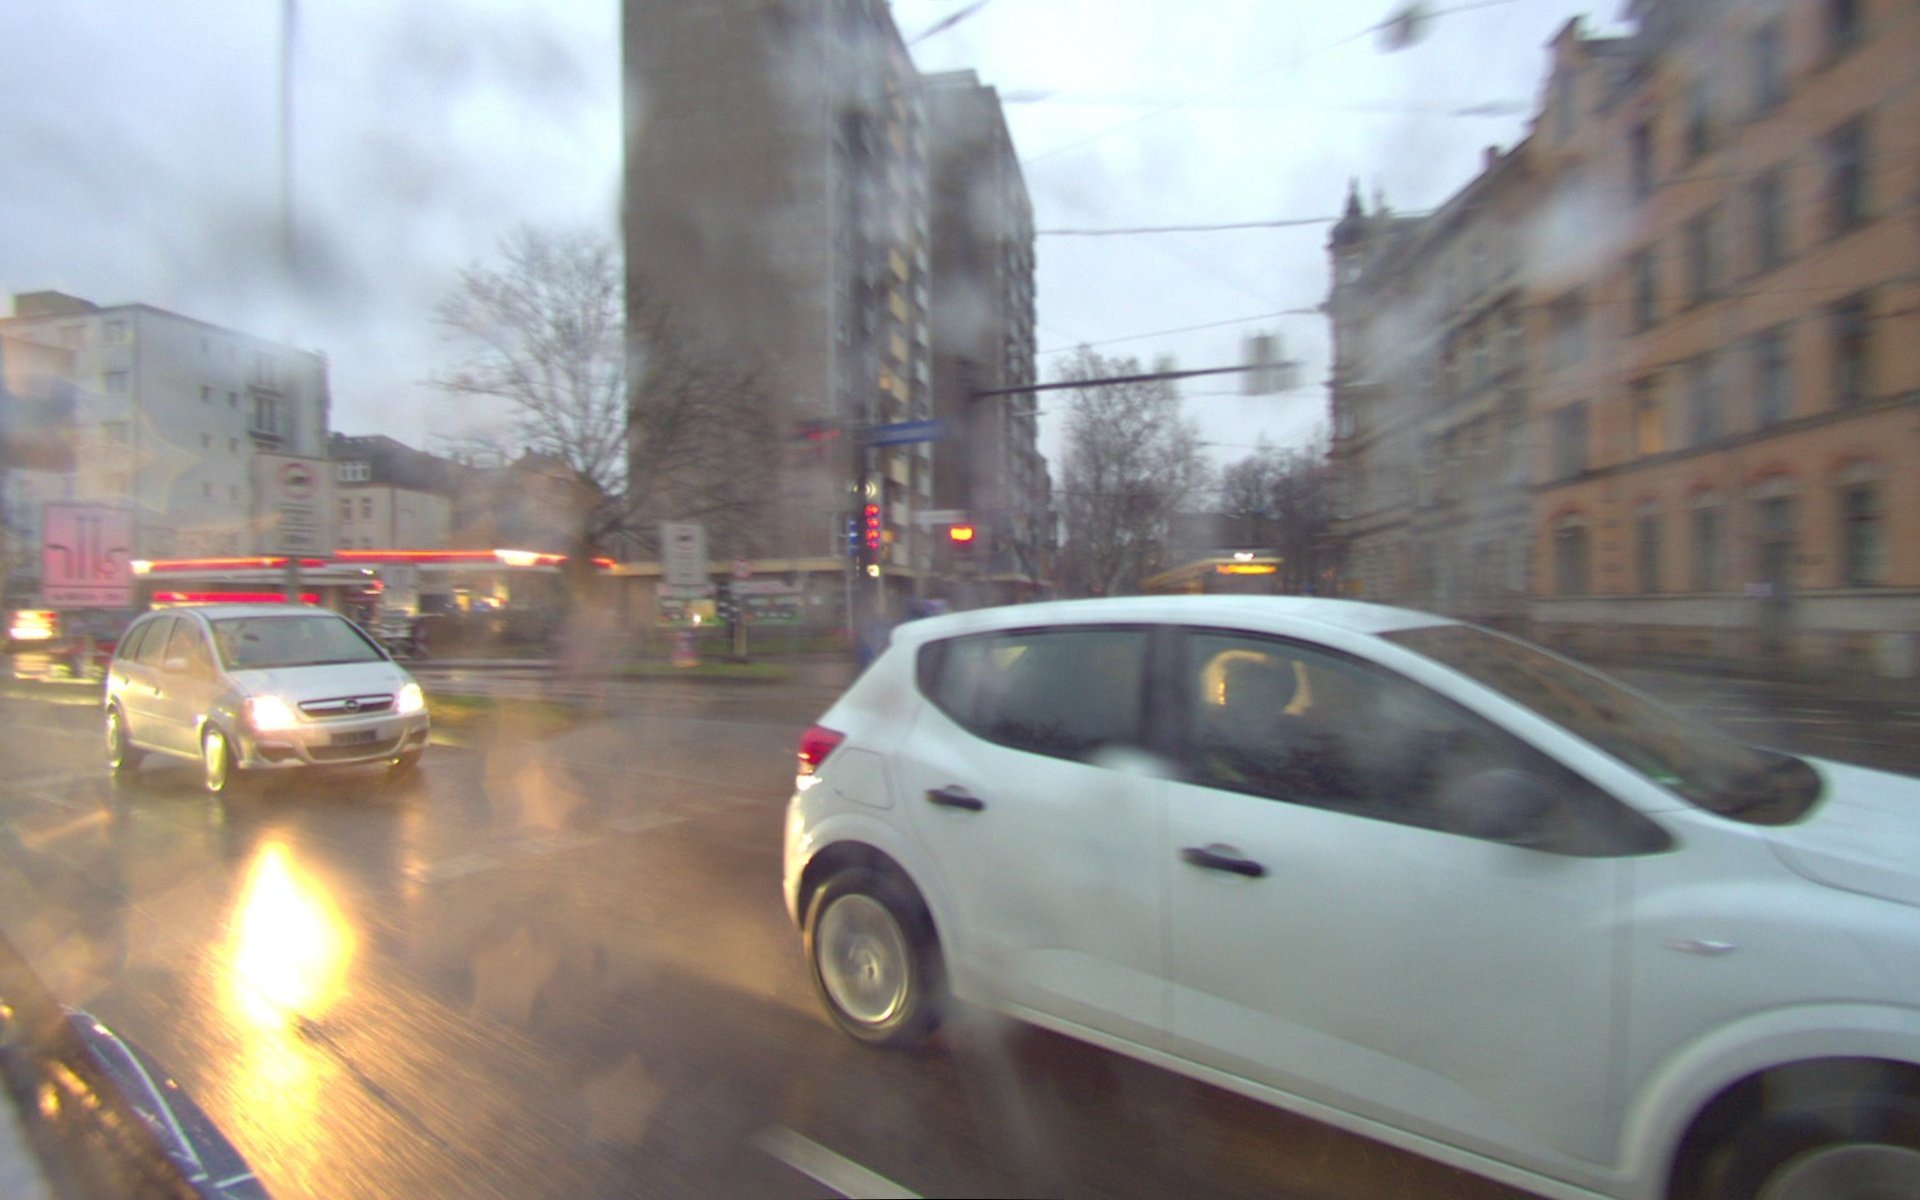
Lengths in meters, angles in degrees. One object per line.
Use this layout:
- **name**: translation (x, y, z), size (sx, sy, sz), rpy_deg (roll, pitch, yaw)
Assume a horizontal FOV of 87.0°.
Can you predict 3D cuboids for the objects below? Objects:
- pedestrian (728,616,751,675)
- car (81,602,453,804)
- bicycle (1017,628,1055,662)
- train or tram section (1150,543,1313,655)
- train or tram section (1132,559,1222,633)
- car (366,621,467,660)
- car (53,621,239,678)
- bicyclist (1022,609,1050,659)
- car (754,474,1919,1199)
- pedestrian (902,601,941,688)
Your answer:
- **pedestrian**: translation (-6.869, 1.399, 31.492), size (0.525, 1.806, 0.627), rpy_deg (-2, -1, 2)
- **car**: translation (-6.763, 0.846, 9.738), size (4.100, 1.560, 1.631), rpy_deg (-1, -1, 35)
- **bicycle**: translation (2.187, 1.277, 29.246), size (0.498, 0.907, 1.990), rpy_deg (-1, 0, -13)
- **train or tram section**: translation (9.398, -0.075, 37.548), size (3.130, 3.212, 16.281), rpy_deg (-1, 0, 6)
- **train or tram section**: translation (10.713, -0.220, 51.184), size (3.130, 3.262, 11.132), rpy_deg (-1, 0, 6)
- **car**: translation (-23.104, 1.685, 43.198), size (1.759, 1.542, 3.989), rpy_deg (-1, -1, 8)
- **car**: translation (-22.567, 1.358, 28.174), size (3.793, 1.460, 1.651), rpy_deg (-1, 0, -4)
- **bicyclist**: translation (2.180, 0.967, 29.244), size (0.498, 1.401, 0.971), rpy_deg (-1, -1, -13)
- **car**: translation (1.317, 0.580, 2.926), size (3.997, 1.498, 1.610), rpy_deg (-3, -2, 40)
- **pedestrian**: translation (-0.795, 0.909, 20.990), size (0.627, 1.785, 0.462), rpy_deg (-1, -1, 36)
